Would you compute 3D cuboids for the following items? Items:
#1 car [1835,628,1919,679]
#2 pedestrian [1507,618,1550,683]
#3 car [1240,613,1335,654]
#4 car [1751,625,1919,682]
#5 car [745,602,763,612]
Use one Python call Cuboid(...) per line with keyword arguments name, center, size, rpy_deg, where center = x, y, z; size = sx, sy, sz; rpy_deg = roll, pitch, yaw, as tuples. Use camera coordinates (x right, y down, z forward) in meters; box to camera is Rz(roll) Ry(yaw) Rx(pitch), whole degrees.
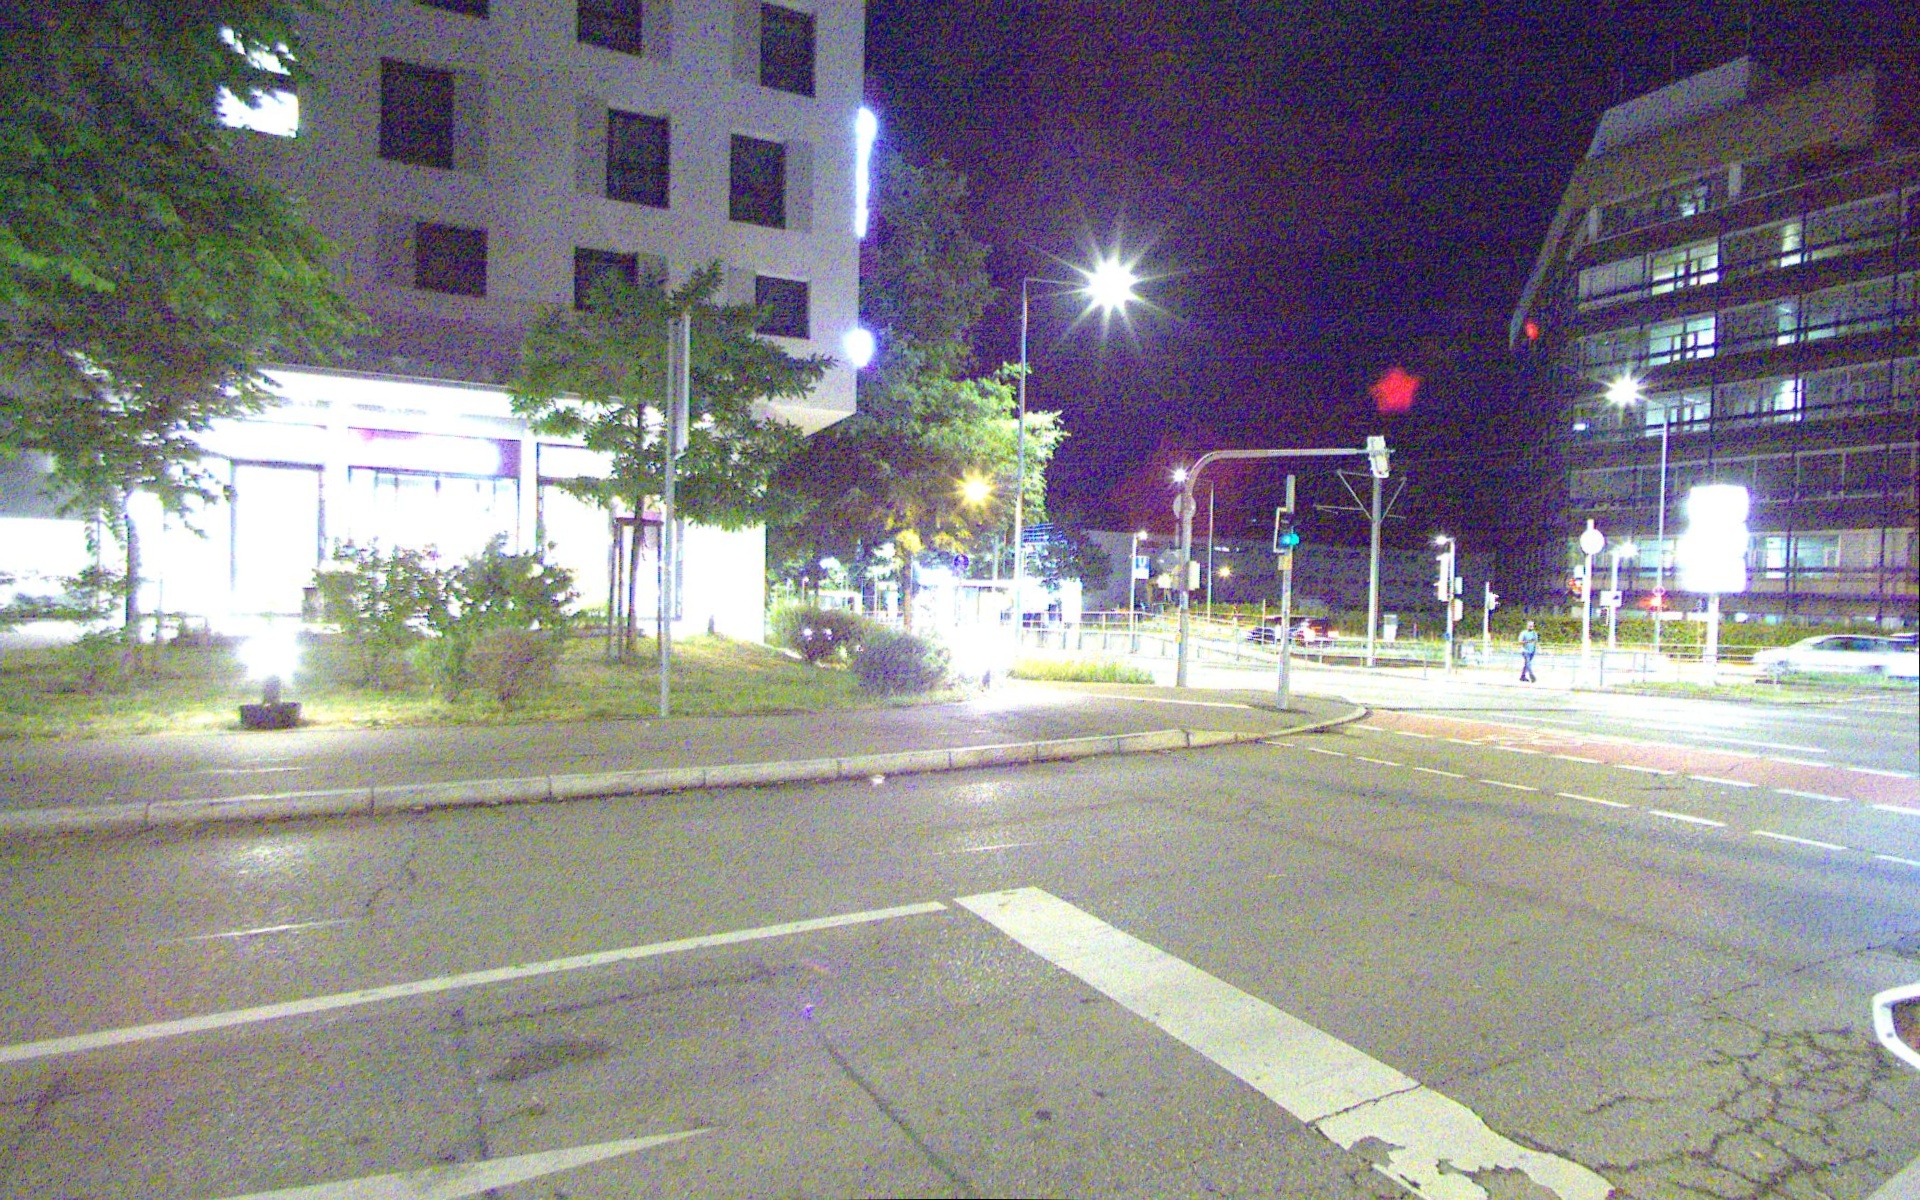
Cuboid(name="car", center=(32.638, 1.825, 34.302), size=(1.786, 1.653, 3.810), rpy_deg=(1, -1, -23))
Cuboid(name="pedestrian", center=(15.547, 1.375, 27.481), size=(0.669, 1.745, 0.702), rpy_deg=(2, 0, -22))
Cuboid(name="car", center=(17.204, 1.729, 53.036), size=(1.845, 1.909, 4.926), rpy_deg=(3, 0, -26))
Cuboid(name="car", center=(27.226, 1.630, 31.126), size=(1.845, 1.506, 3.822), rpy_deg=(3, 0, -26))
Cuboid(name="car", center=(-33.458, 1.116, 162.940), size=(1.845, 1.506, 3.822), rpy_deg=(3, 0, -26))
